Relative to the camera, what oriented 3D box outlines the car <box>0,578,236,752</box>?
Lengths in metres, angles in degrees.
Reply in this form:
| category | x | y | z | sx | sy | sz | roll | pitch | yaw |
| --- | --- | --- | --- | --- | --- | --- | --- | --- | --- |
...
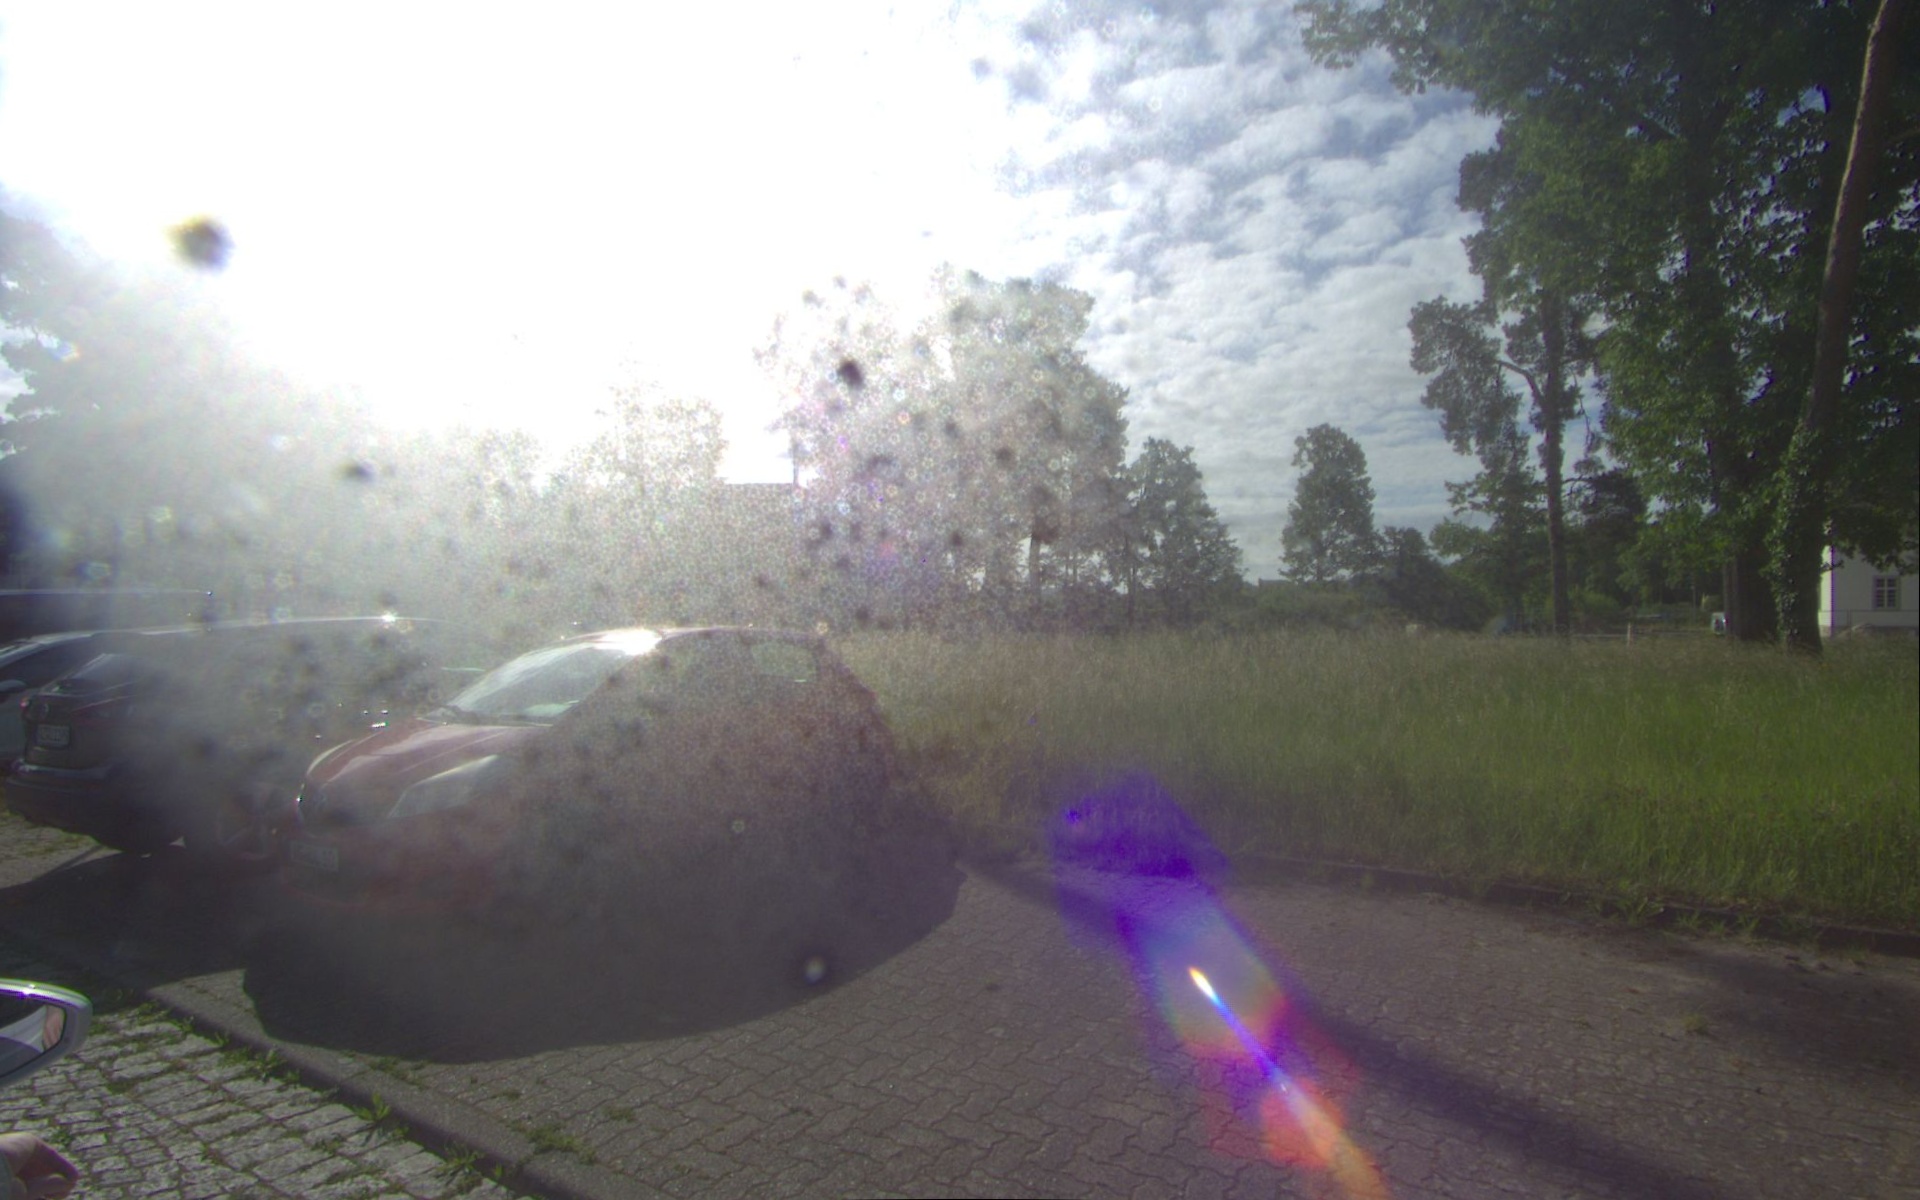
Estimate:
| category | x | y | z | sx | sy | sz | roll | pitch | yaw |
| --- | --- | --- | --- | --- | --- | --- | --- | --- | --- |
| car | -12.035 | 0.769 | 12.316 | 2.052 | 2.040 | 4.673 | 0 | -1 | 29 |

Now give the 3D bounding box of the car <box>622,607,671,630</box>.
| category | x | y | z | sx | sy | sz | roll | pitch | yaw |
| --- | --- | --- | --- | --- | --- | --- | --- | --- | --- |
| car | -28.493 | 1.650 | 91.164 | 1.971 | 2.040 | 3.980 | 0 | -1 | 32 |

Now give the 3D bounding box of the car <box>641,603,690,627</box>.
| category | x | y | z | sx | sy | sz | roll | pitch | yaw |
| --- | --- | --- | --- | --- | --- | --- | --- | --- | --- |
| car | -26.455 | 1.367 | 90.129 | 1.971 | 2.040 | 3.980 | 0 | -1 | 32 |

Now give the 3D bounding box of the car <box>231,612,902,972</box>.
| category | x | y | z | sx | sy | sz | roll | pitch | yaw |
| --- | --- | --- | --- | --- | --- | --- | --- | --- | --- |
| car | -2.098 | 0.866 | 6.341 | 1.621 | 1.550 | 3.756 | 0 | -1 | 32 |

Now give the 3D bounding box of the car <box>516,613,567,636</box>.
| category | x | y | z | sx | sy | sz | roll | pitch | yaw |
| --- | --- | --- | --- | --- | --- | --- | --- | --- | --- |
| car | -38.701 | 2.266 | 92.615 | 1.971 | 2.040 | 3.980 | 0 | -1 | 32 |

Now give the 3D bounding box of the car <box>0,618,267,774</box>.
| category | x | y | z | sx | sy | sz | roll | pitch | yaw |
| --- | --- | --- | --- | --- | --- | --- | --- | --- | --- |
| car | -9.895 | 0.967 | 10.758 | 1.621 | 1.508 | 3.714 | 0 | 0 | 30 |

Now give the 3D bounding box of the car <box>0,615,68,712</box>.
| category | x | y | z | sx | sy | sz | roll | pitch | yaw |
| --- | --- | --- | --- | --- | --- | --- | --- | --- | --- |
| car | -16.241 | 1.026 | 15.217 | 1.622 | 1.485 | 3.685 | 0 | 1 | 33 |

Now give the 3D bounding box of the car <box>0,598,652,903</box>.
| category | x | y | z | sx | sy | sz | roll | pitch | yaw |
| --- | --- | --- | --- | --- | --- | --- | --- | --- | --- |
| car | -4.444 | 0.855 | 7.544 | 1.746 | 1.642 | 3.930 | 0 | -1 | 31 |
